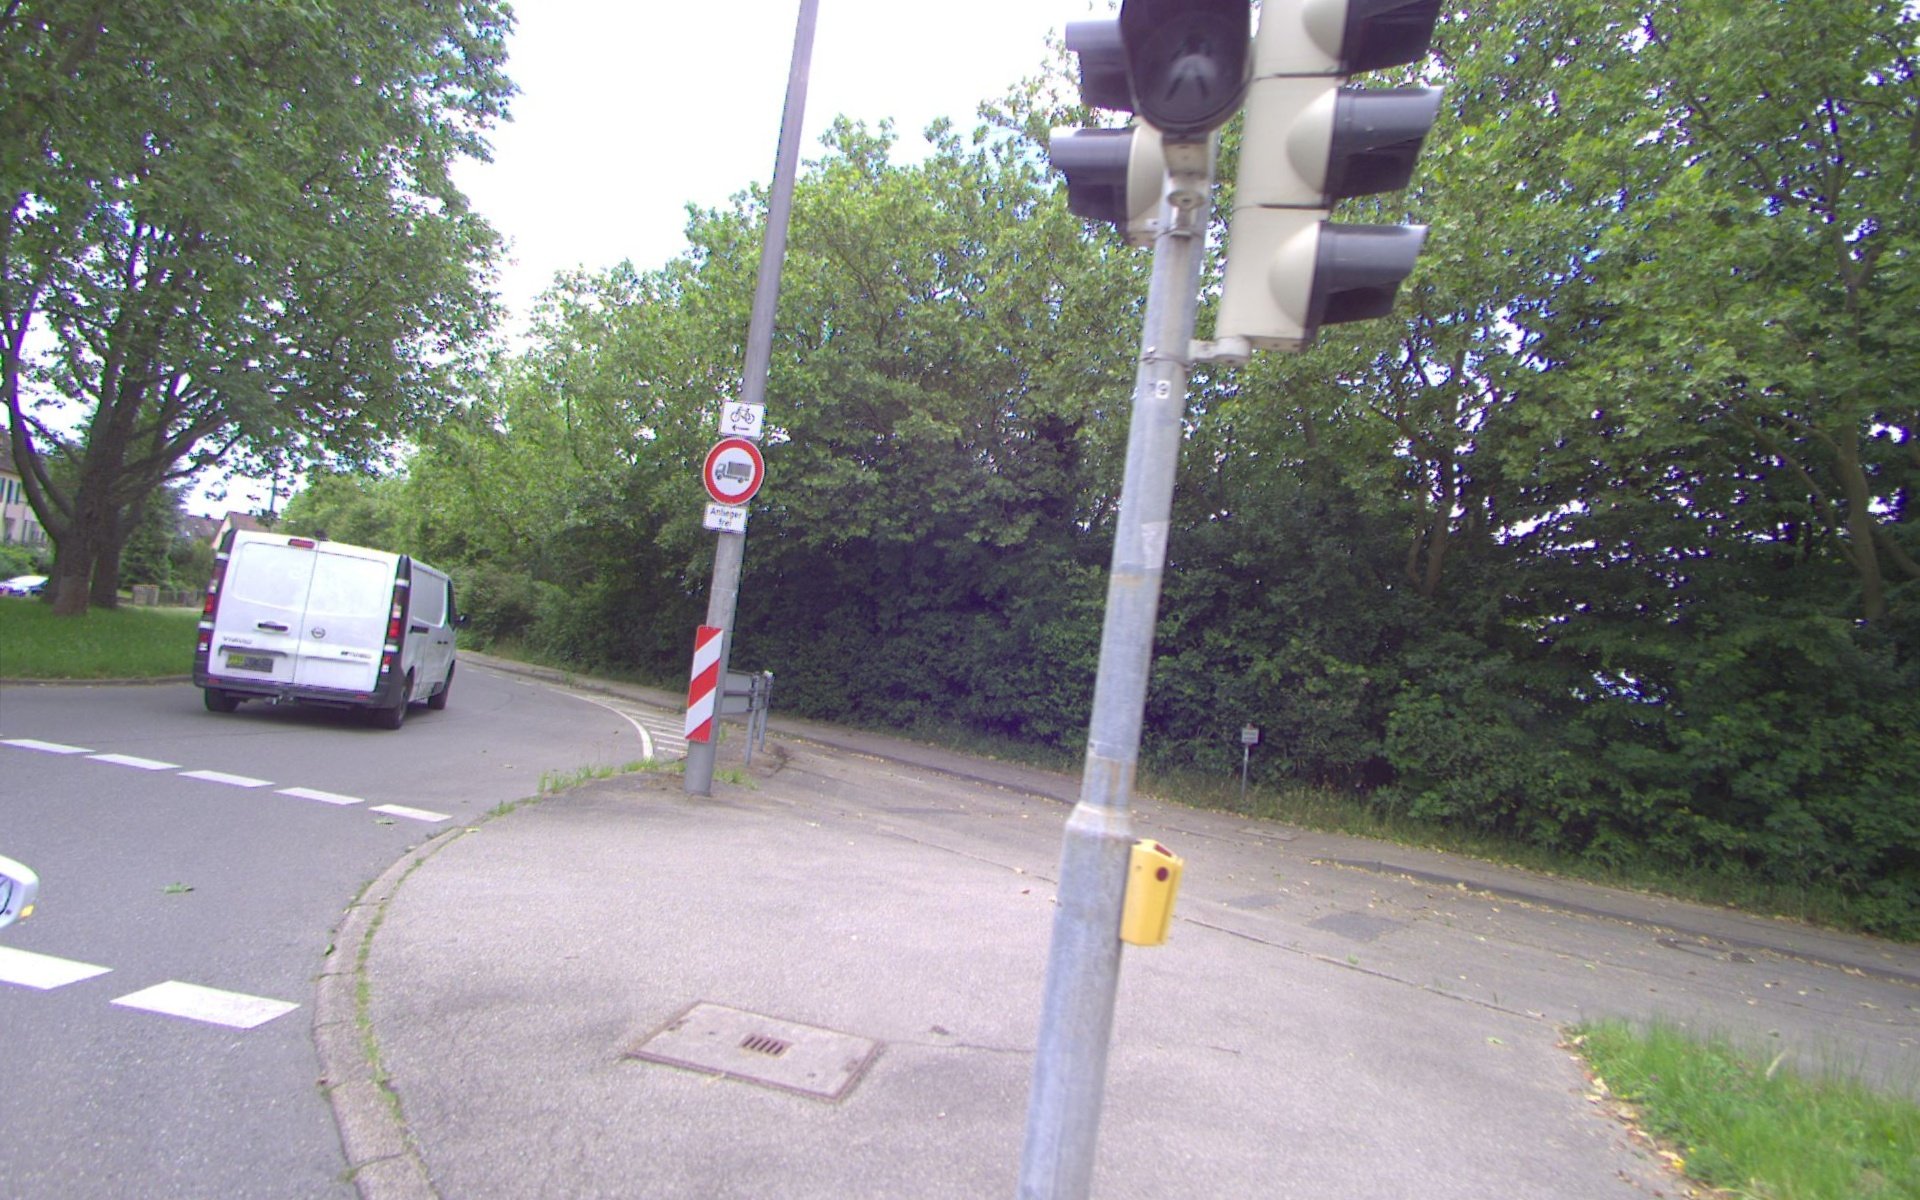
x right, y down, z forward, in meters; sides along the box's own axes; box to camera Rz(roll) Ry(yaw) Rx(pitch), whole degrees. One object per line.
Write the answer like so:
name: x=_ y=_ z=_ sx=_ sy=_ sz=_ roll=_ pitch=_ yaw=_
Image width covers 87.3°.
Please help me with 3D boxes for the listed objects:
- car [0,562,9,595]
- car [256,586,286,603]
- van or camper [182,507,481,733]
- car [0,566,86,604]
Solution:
car: x=-46.070 y=-1.255 z=45.632 sx=1.701 sy=1.489 sz=4.285 roll=7 pitch=-4 yaw=-1
car: x=-73.419 y=-0.583 z=107.201 sx=3.336 sy=1.489 sz=1.726 roll=3 pitch=-5 yaw=41
van or camper: x=-7.435 y=0.230 z=12.522 sx=1.904 sy=2.036 sz=4.811 roll=9 pitch=-3 yaw=-19
car: x=-46.635 y=-0.773 z=50.661 sx=1.702 sy=1.489 sz=4.317 roll=7 pitch=-4 yaw=-6
